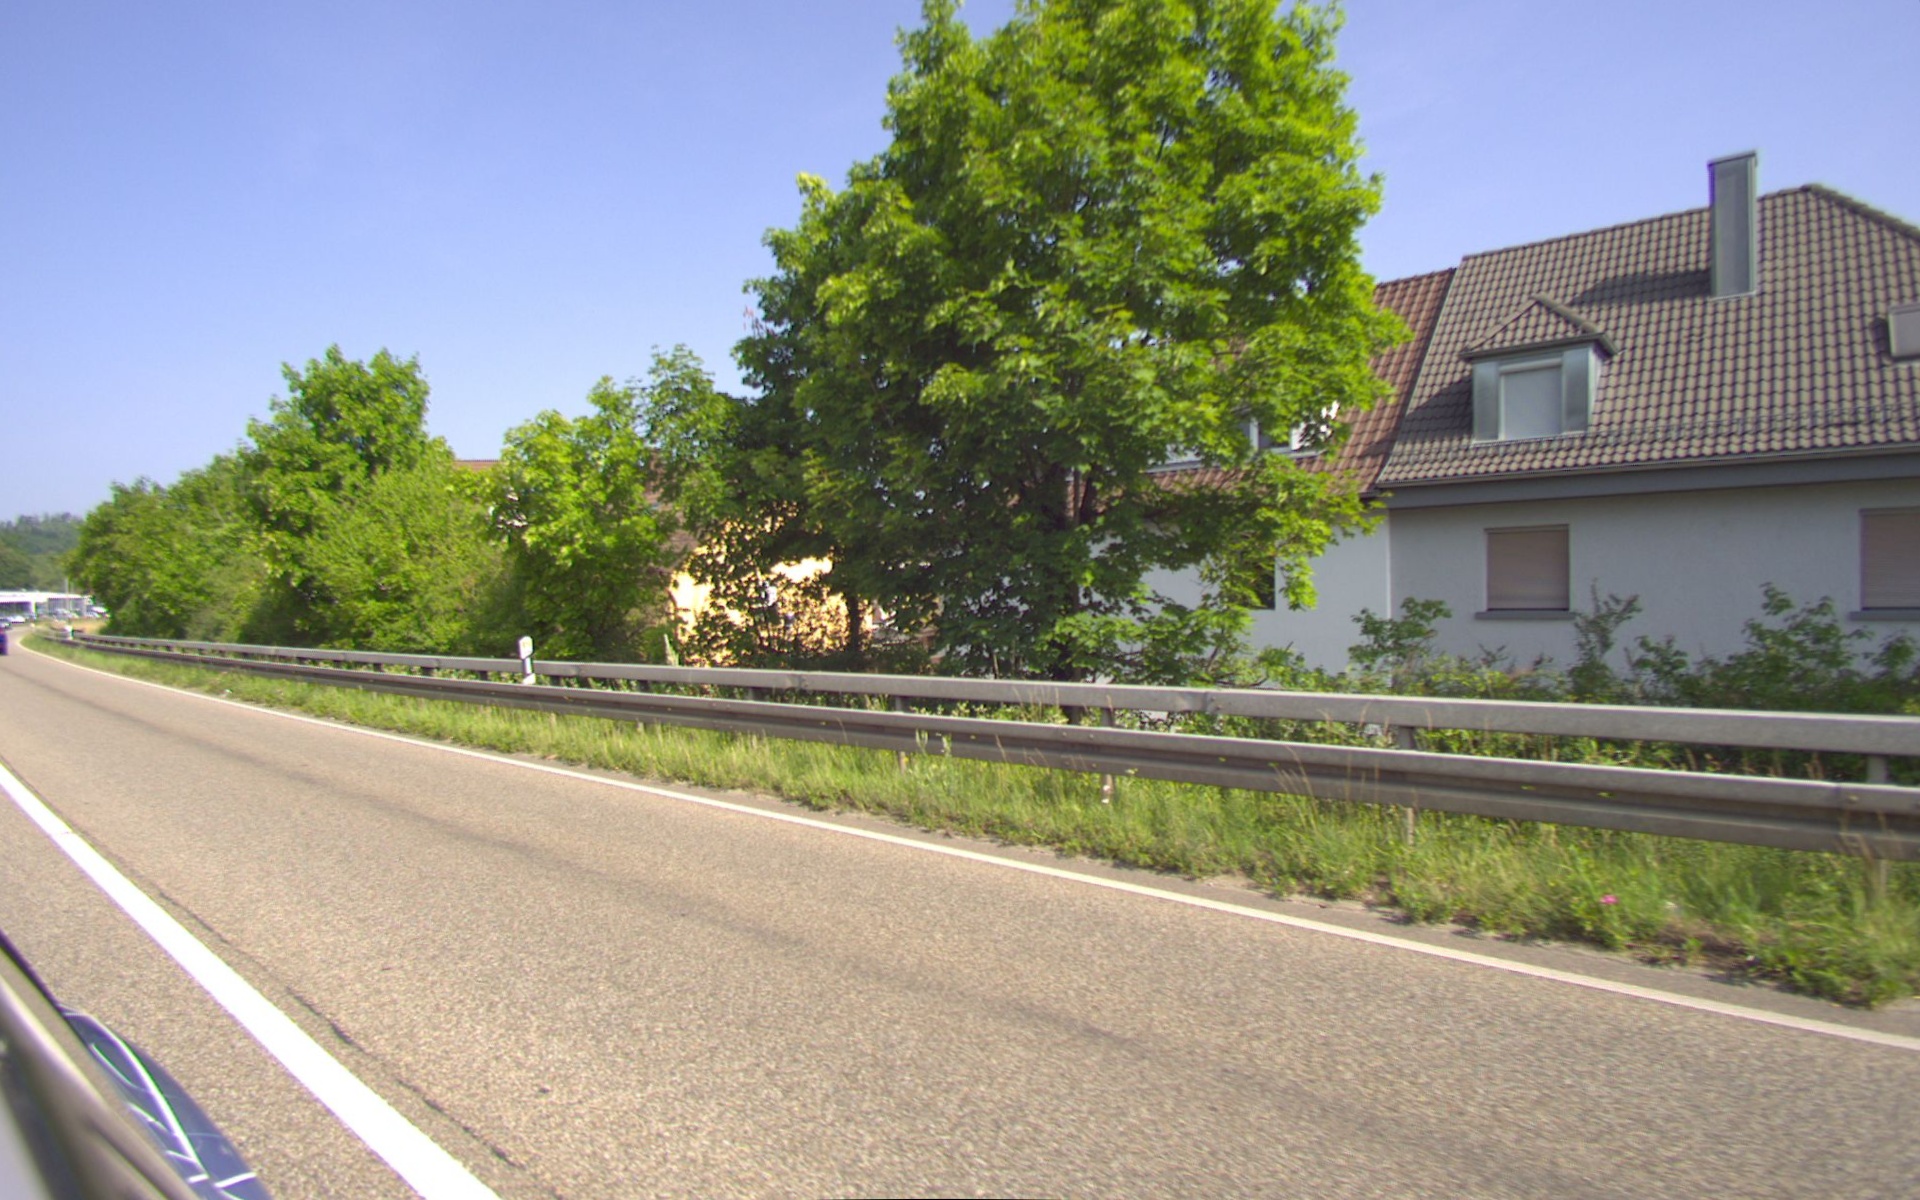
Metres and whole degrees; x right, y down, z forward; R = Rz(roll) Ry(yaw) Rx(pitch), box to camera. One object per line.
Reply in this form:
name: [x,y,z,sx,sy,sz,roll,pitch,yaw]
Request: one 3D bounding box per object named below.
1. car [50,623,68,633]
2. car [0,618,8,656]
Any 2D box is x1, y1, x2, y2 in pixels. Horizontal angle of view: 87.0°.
car: [-125.108,3.862,140.464,1.737,1.421,3.993,3,-2,-43]
car: [-42.203,1.559,43.290,3.992,1.572,1.788,-1,-2,42]
